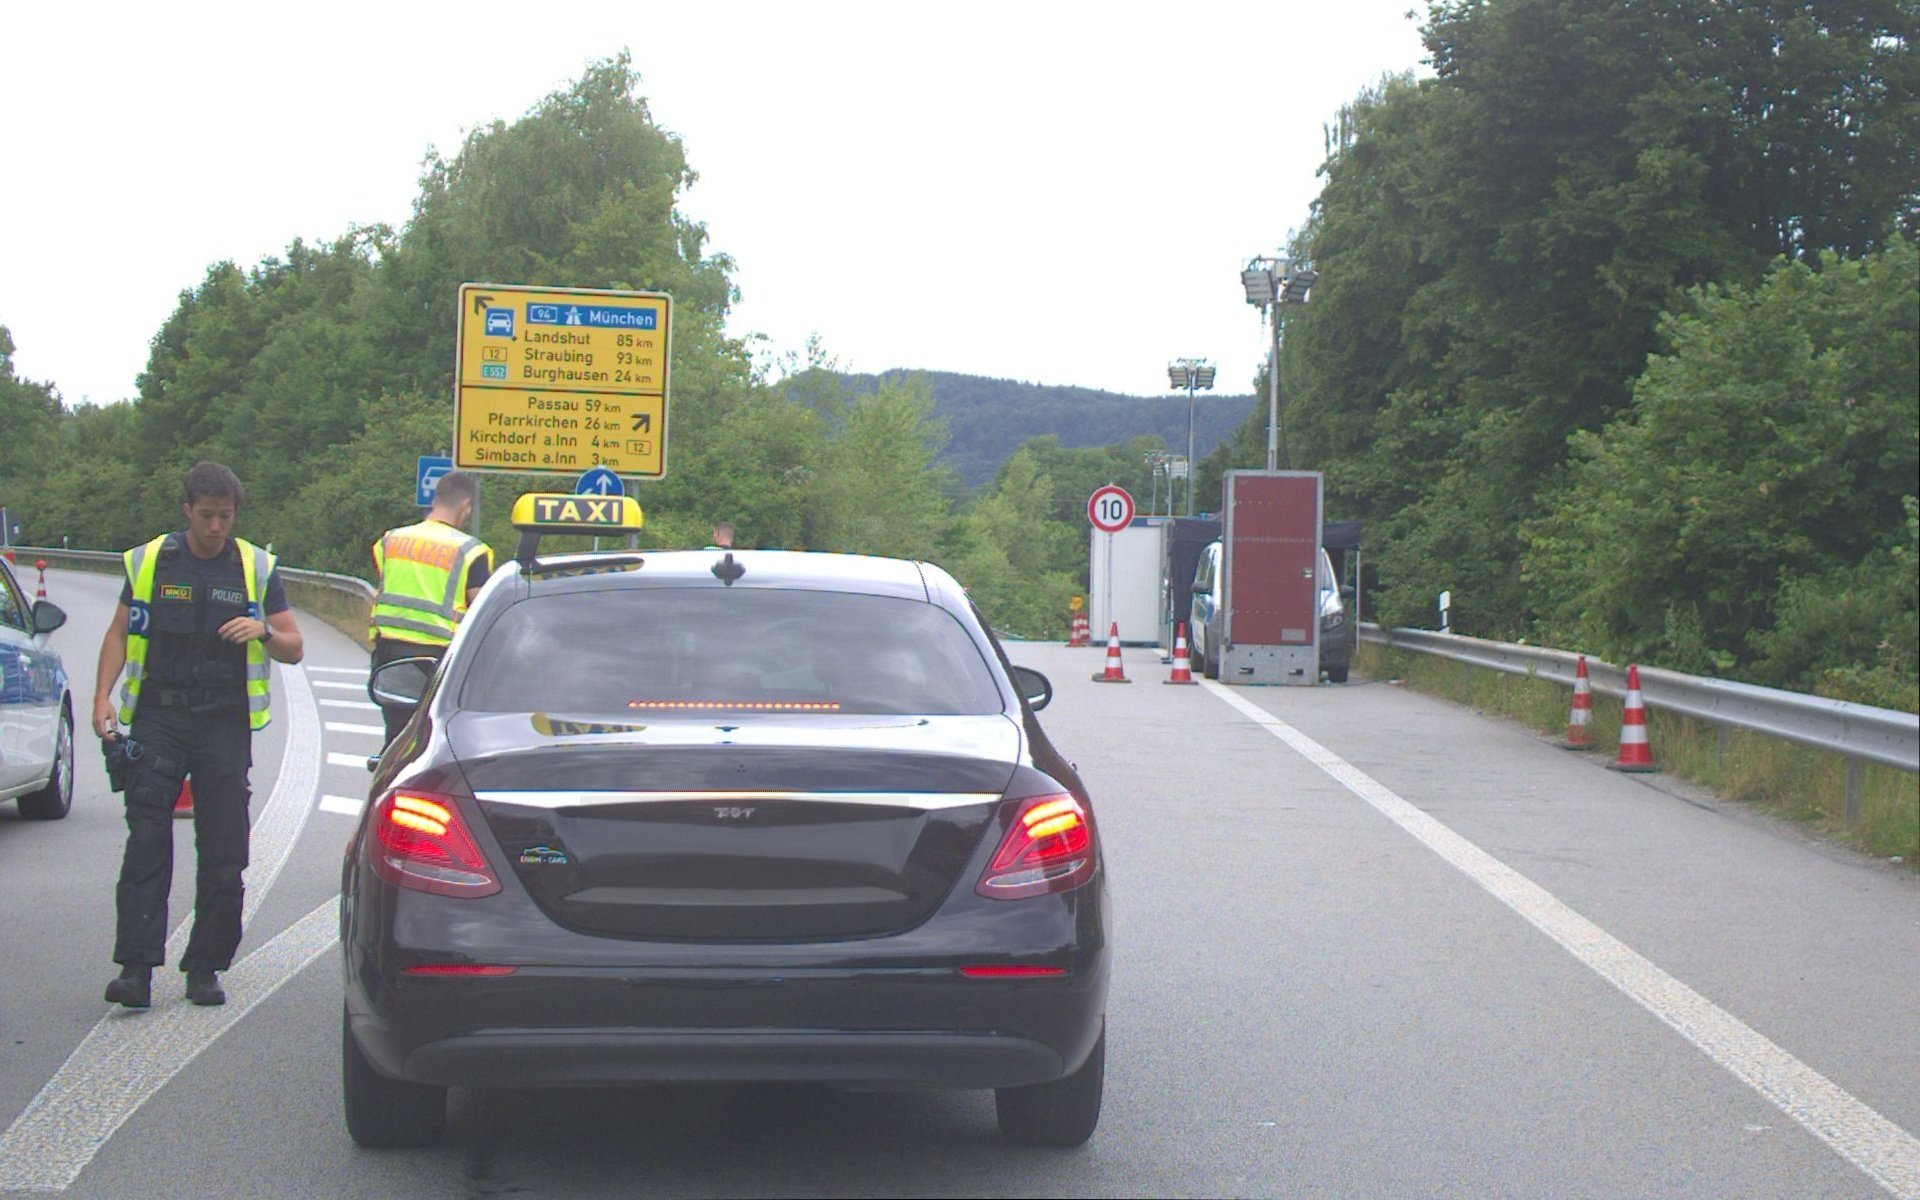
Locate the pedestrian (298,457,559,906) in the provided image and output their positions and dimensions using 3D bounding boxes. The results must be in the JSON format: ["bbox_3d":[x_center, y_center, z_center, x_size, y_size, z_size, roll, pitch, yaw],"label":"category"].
[{"bbox_3d":[-2.226,0.323,14.463,0.813,1.824,0.809,1,1,16],"label":"pedestrian"}]

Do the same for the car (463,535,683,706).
[{"bbox_3d":[-3.591,0.144,32.526,1.855,1.493,4.257,1,1,-4],"label":"car"}]

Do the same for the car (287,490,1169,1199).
[{"bbox_3d":[-0.698,0.533,9.485,1.855,1.589,4.376,1,1,-6],"label":"car"}]

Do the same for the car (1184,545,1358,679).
[{"bbox_3d":[4.236,0.115,47.597,1.916,1.672,5.083,3,1,0],"label":"car"}]

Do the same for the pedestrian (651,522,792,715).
[{"bbox_3d":[-2.139,0.160,30.804,0.908,1.692,0.914,1,1,-32],"label":"pedestrian"}]

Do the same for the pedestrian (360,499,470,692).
[{"bbox_3d":[-5.078,-0.047,32.063,0.910,1.763,0.912,1,1,-4],"label":"pedestrian"}]

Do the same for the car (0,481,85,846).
[{"bbox_3d":[-5.533,0.289,16.654,1.868,1.737,4.009,1,1,-5],"label":"car"}]

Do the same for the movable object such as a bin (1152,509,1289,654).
[{"bbox_3d":[4.234,-0.328,56.436,1.993,2.272,4.168,1,1,1],"label":"movable object such as a bin"}]

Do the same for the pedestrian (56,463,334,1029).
[{"bbox_3d":[-2.394,0.438,10.838,0.760,1.712,0.818,0,1,-6],"label":"pedestrian"}]

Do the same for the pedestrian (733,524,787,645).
[{"bbox_3d":[-3.248,-0.255,55.886,0.664,1.954,0.759,1,1,15],"label":"pedestrian"}]
